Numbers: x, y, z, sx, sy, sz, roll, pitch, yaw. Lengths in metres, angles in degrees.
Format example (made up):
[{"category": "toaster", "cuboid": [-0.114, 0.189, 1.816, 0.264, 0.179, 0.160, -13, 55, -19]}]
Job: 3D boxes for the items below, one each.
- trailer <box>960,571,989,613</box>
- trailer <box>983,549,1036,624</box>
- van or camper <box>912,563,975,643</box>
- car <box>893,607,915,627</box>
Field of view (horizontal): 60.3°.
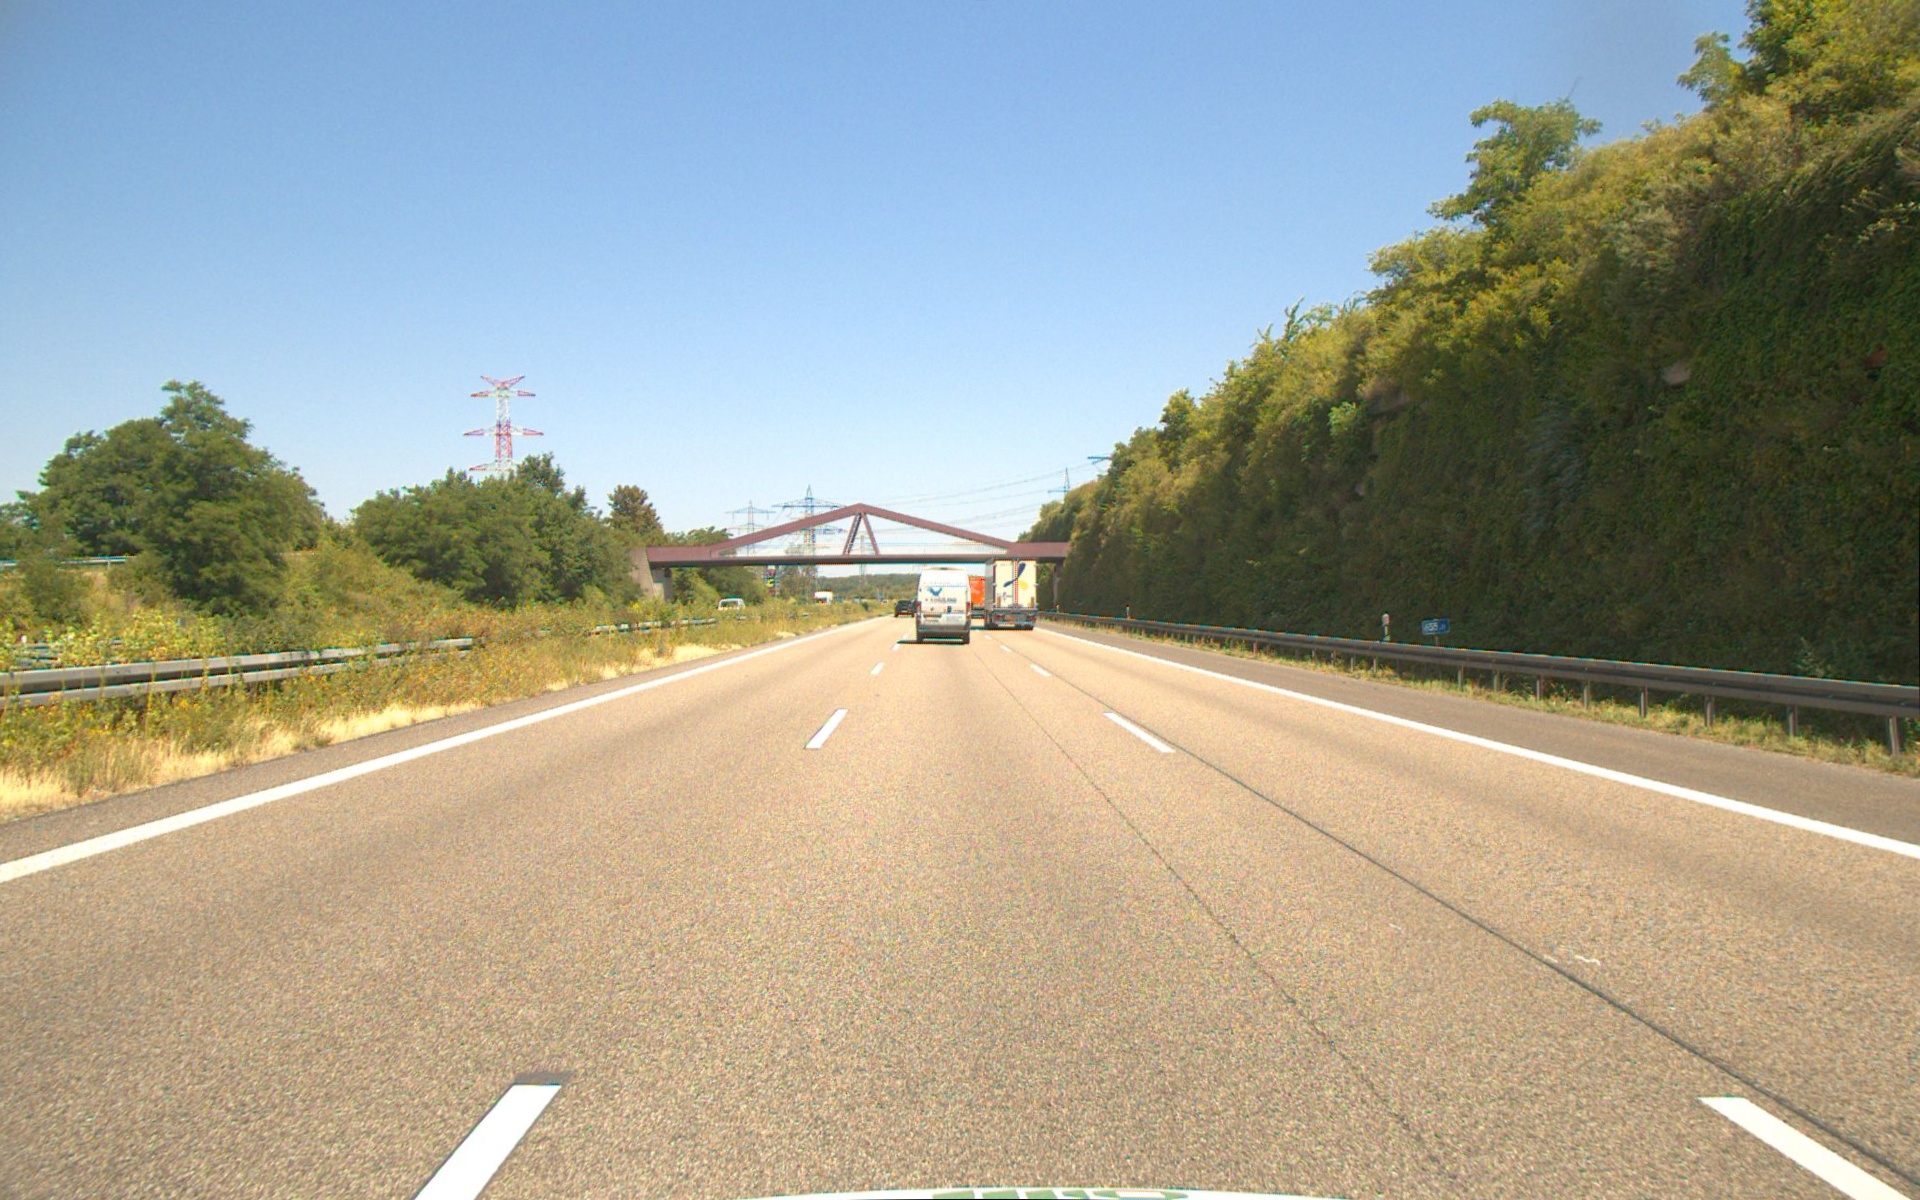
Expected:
[{"category": "trailer", "cuboid": [1.412, -0.731, 162.413, 2.584, 3.965, 7.067, 2, 0, 0]}, {"category": "trailer", "cuboid": [2.836, -0.739, 98.381, 2.584, 4.131, 12.364, 2, 0, 0]}, {"category": "van or camper", "cuboid": [-0.640, 0.115, 62.148, 2.185, 2.831, 5.421, 2, 0, -1]}, {"category": "car", "cuboid": [-5.581, 1.687, 164.215, 1.942, 1.849, 3.813, 2, 0, 0]}]
